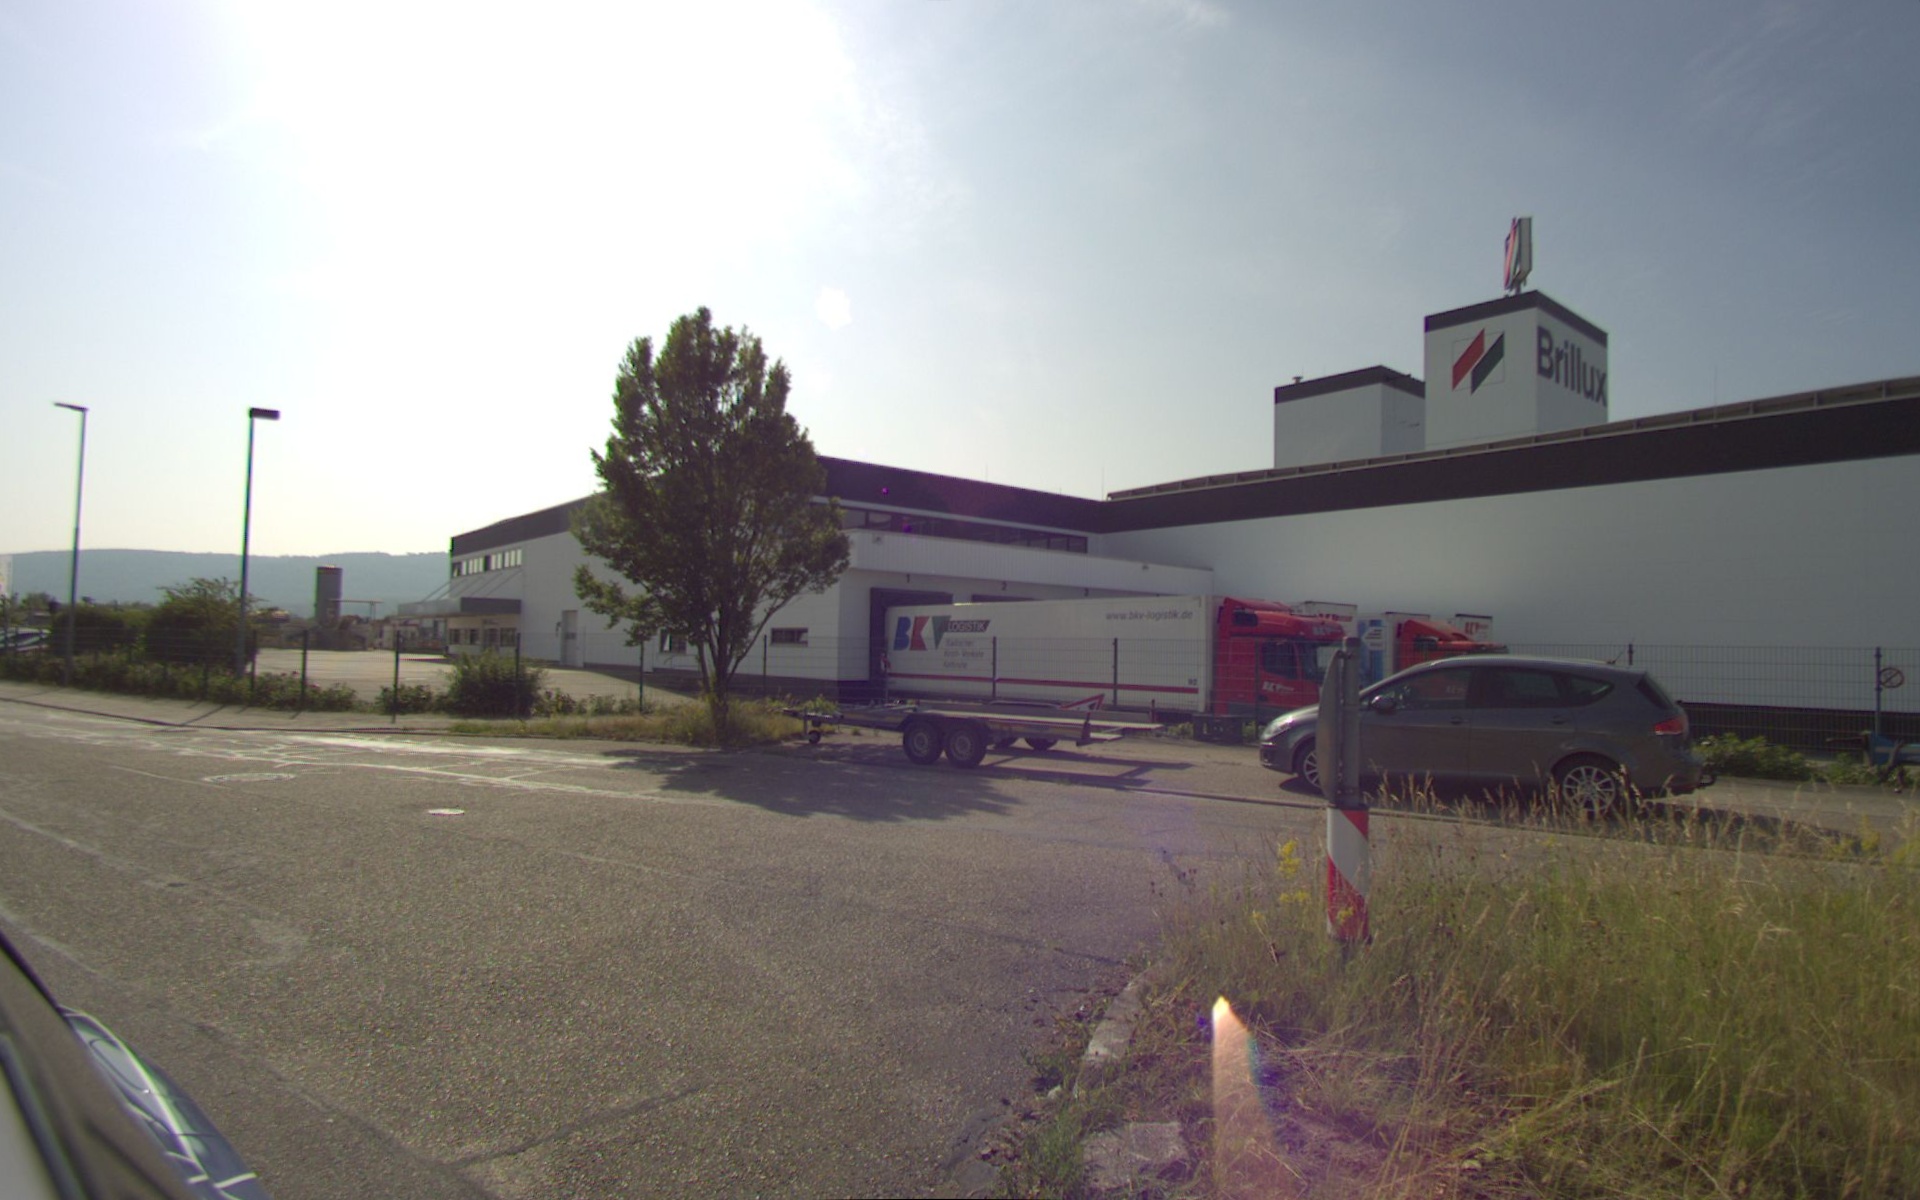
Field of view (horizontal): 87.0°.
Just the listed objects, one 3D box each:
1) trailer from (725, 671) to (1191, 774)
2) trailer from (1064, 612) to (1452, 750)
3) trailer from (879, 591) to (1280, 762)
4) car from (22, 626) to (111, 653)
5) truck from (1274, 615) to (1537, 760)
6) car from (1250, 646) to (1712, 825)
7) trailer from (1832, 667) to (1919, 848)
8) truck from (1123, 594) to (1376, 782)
[{"bbox_3d":[-0.202,1.679,15.133,6.689,0.932,2.527,-1,0,33],"label":"trailer"},{"bbox_3d":[9.778,2.477,36.067,2.819,4.037,14.033,1,-2,-40],"label":"trailer"},{"bbox_3d":[2.662,1.836,30.150,2.451,4.072,13.911,1,-1,-40],"label":"trailer"},{"bbox_3d":[-65.509,2.910,74.296,4.587,1.765,2.157,4,-4,-35],"label":"car"},{"bbox_3d":[13.654,2.479,31.512,2.731,3.900,7.024,1,-1,-41],"label":"truck"},{"bbox_3d":[5.650,1.348,11.333,4.324,1.573,1.682,-1,-1,34],"label":"car"},{"bbox_3d":[10.695,1.358,8.302,5.065,1.464,2.658,-1,-3,35],"label":"trailer"},{"bbox_3d":[7.013,1.947,25.040,2.482,4.102,5.552,1,-1,-41],"label":"truck"}]
